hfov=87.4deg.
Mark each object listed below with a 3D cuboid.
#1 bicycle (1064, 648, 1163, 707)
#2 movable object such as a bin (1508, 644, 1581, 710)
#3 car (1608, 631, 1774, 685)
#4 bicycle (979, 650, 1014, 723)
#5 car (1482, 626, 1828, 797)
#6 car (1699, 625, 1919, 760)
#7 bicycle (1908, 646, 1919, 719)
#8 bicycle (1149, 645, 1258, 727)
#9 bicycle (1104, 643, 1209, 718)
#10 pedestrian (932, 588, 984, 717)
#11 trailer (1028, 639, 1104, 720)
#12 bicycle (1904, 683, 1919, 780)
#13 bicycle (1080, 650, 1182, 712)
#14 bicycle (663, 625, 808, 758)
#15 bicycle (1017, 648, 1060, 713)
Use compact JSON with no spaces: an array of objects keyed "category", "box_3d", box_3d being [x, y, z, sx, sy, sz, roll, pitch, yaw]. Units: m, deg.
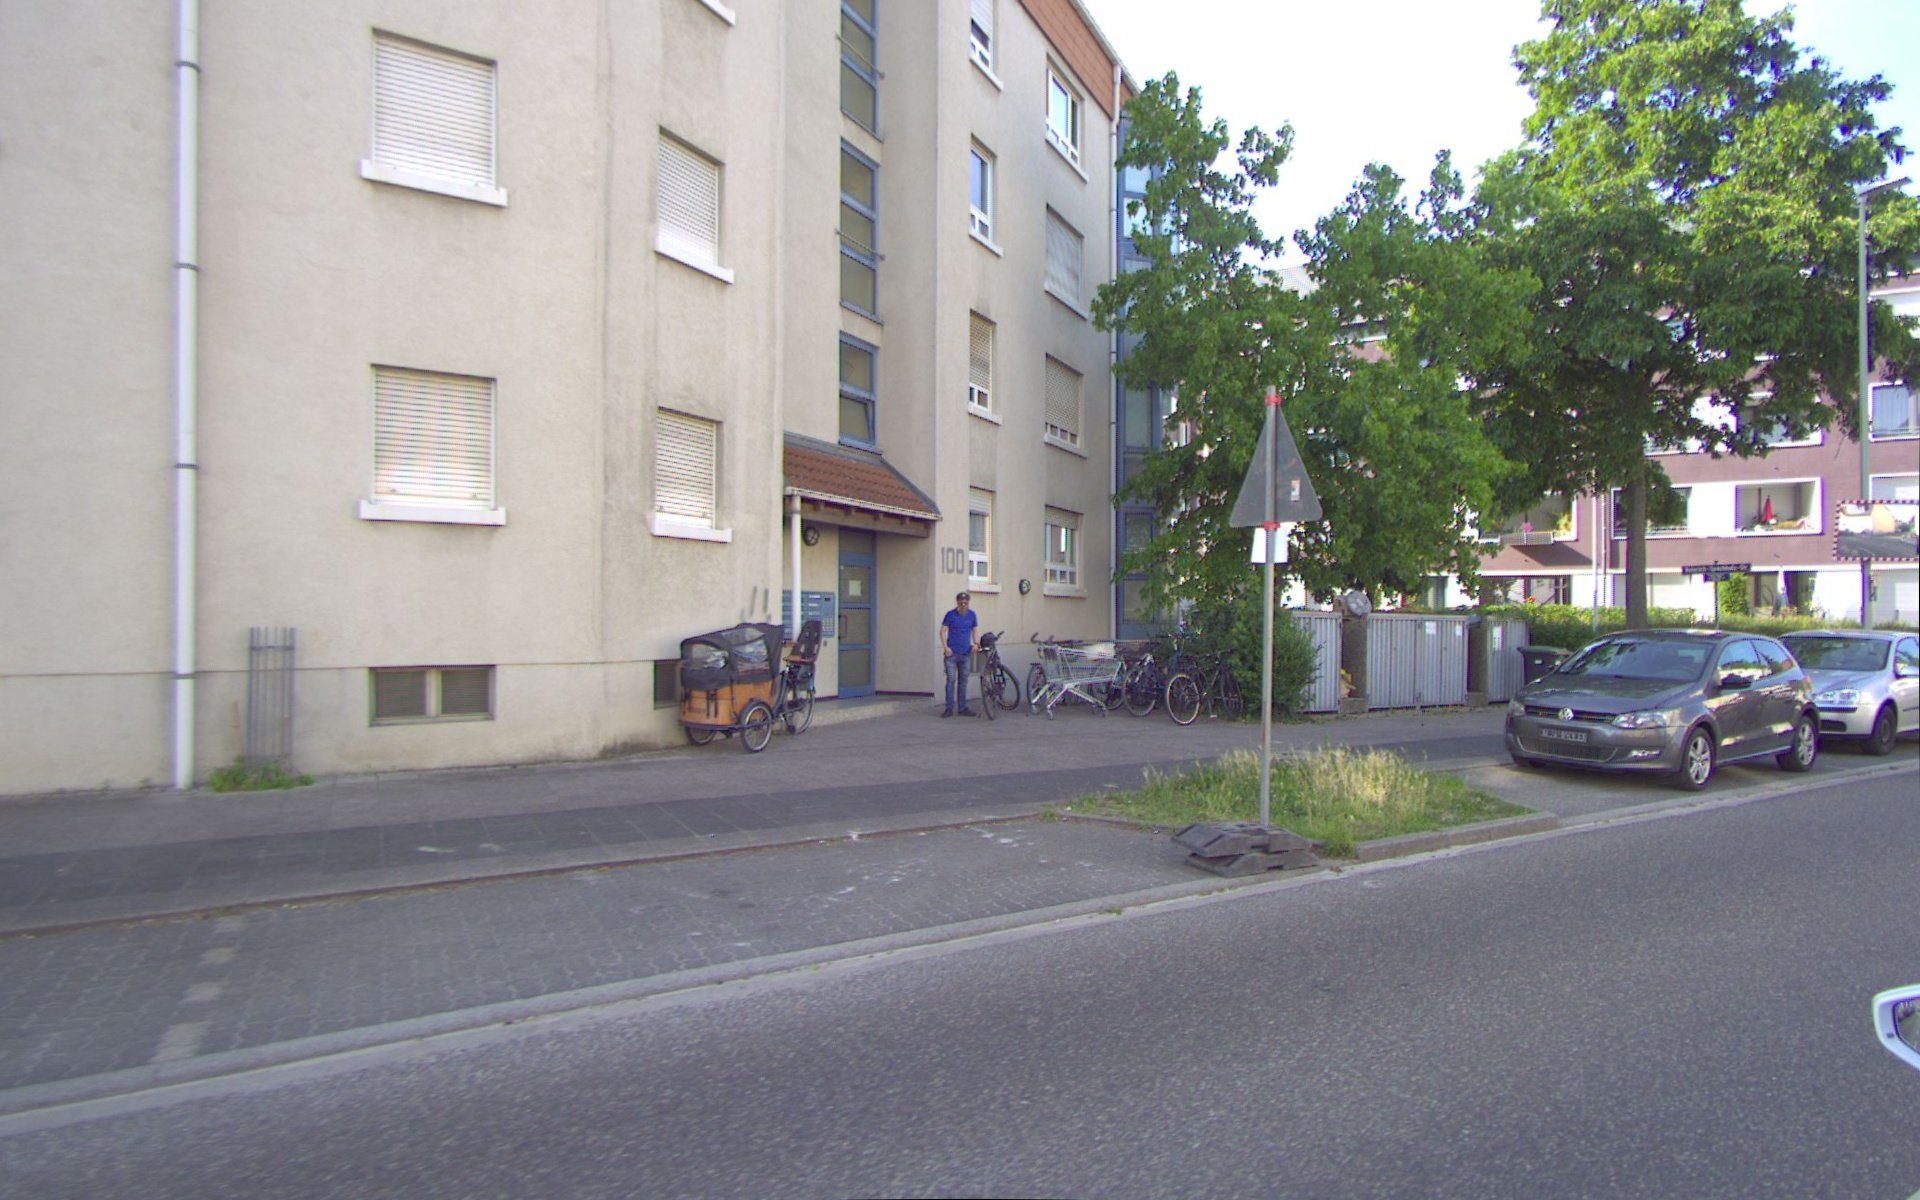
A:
[{"category":"bicycle","box_3d":[2.392,1.182,15.588,1.666,0.863,0.458,1,-1,-35]},{"category":"movable object such as a bin","box_3d":[10.067,1.307,17.311,0.807,1.054,0.748,1,2,-30]},{"category":"car","box_3d":[19.544,1.516,27.027,3.395,1.305,1.662,0,-1,28]},{"category":"bicycle","box_3d":[0.521,1.169,13.932,0.454,0.863,1.454,1,1,3]},{"category":"car","box_3d":[7.209,1.015,10.341,3.761,1.439,1.565,1,-1,-32]},{"category":"car","box_3d":[11.621,1.117,13.308,3.956,1.521,1.667,1,-1,-33]},{"category":"bicycle","box_3d":[16.991,1.399,16.486,0.701,1.233,1.987,1,-1,-35]},{"category":"bicycle","box_3d":[3.349,1.149,13.754,1.666,1.036,0.458,1,-1,-35]},{"category":"bicycle","box_3d":[2.854,1.142,14.529,1.666,1.007,0.458,1,-1,-35]},{"category":"pedestrian","box_3d":[-0.030,0.710,13.876,0.519,1.746,0.441,1,1,-30]},{"category":"trailer","box_3d":[1.465,1.086,13.928,0.894,1.070,0.584,1,-1,-15]},{"category":"bicycle","box_3d":[10.447,1.339,10.314,1.789,0.955,0.605,1,-1,-30]},{"category":"bicycle","box_3d":[2.584,1.202,15.114,1.666,0.863,0.458,1,-1,-35]},{"category":"bicycle","box_3d":[-2.294,0.893,10.361,0.874,1.266,1.209,0,-1,28]},{"category":"bicycle","box_3d":[1.175,1.172,14.917,0.453,0.893,1.240,0,-1,13]}]
